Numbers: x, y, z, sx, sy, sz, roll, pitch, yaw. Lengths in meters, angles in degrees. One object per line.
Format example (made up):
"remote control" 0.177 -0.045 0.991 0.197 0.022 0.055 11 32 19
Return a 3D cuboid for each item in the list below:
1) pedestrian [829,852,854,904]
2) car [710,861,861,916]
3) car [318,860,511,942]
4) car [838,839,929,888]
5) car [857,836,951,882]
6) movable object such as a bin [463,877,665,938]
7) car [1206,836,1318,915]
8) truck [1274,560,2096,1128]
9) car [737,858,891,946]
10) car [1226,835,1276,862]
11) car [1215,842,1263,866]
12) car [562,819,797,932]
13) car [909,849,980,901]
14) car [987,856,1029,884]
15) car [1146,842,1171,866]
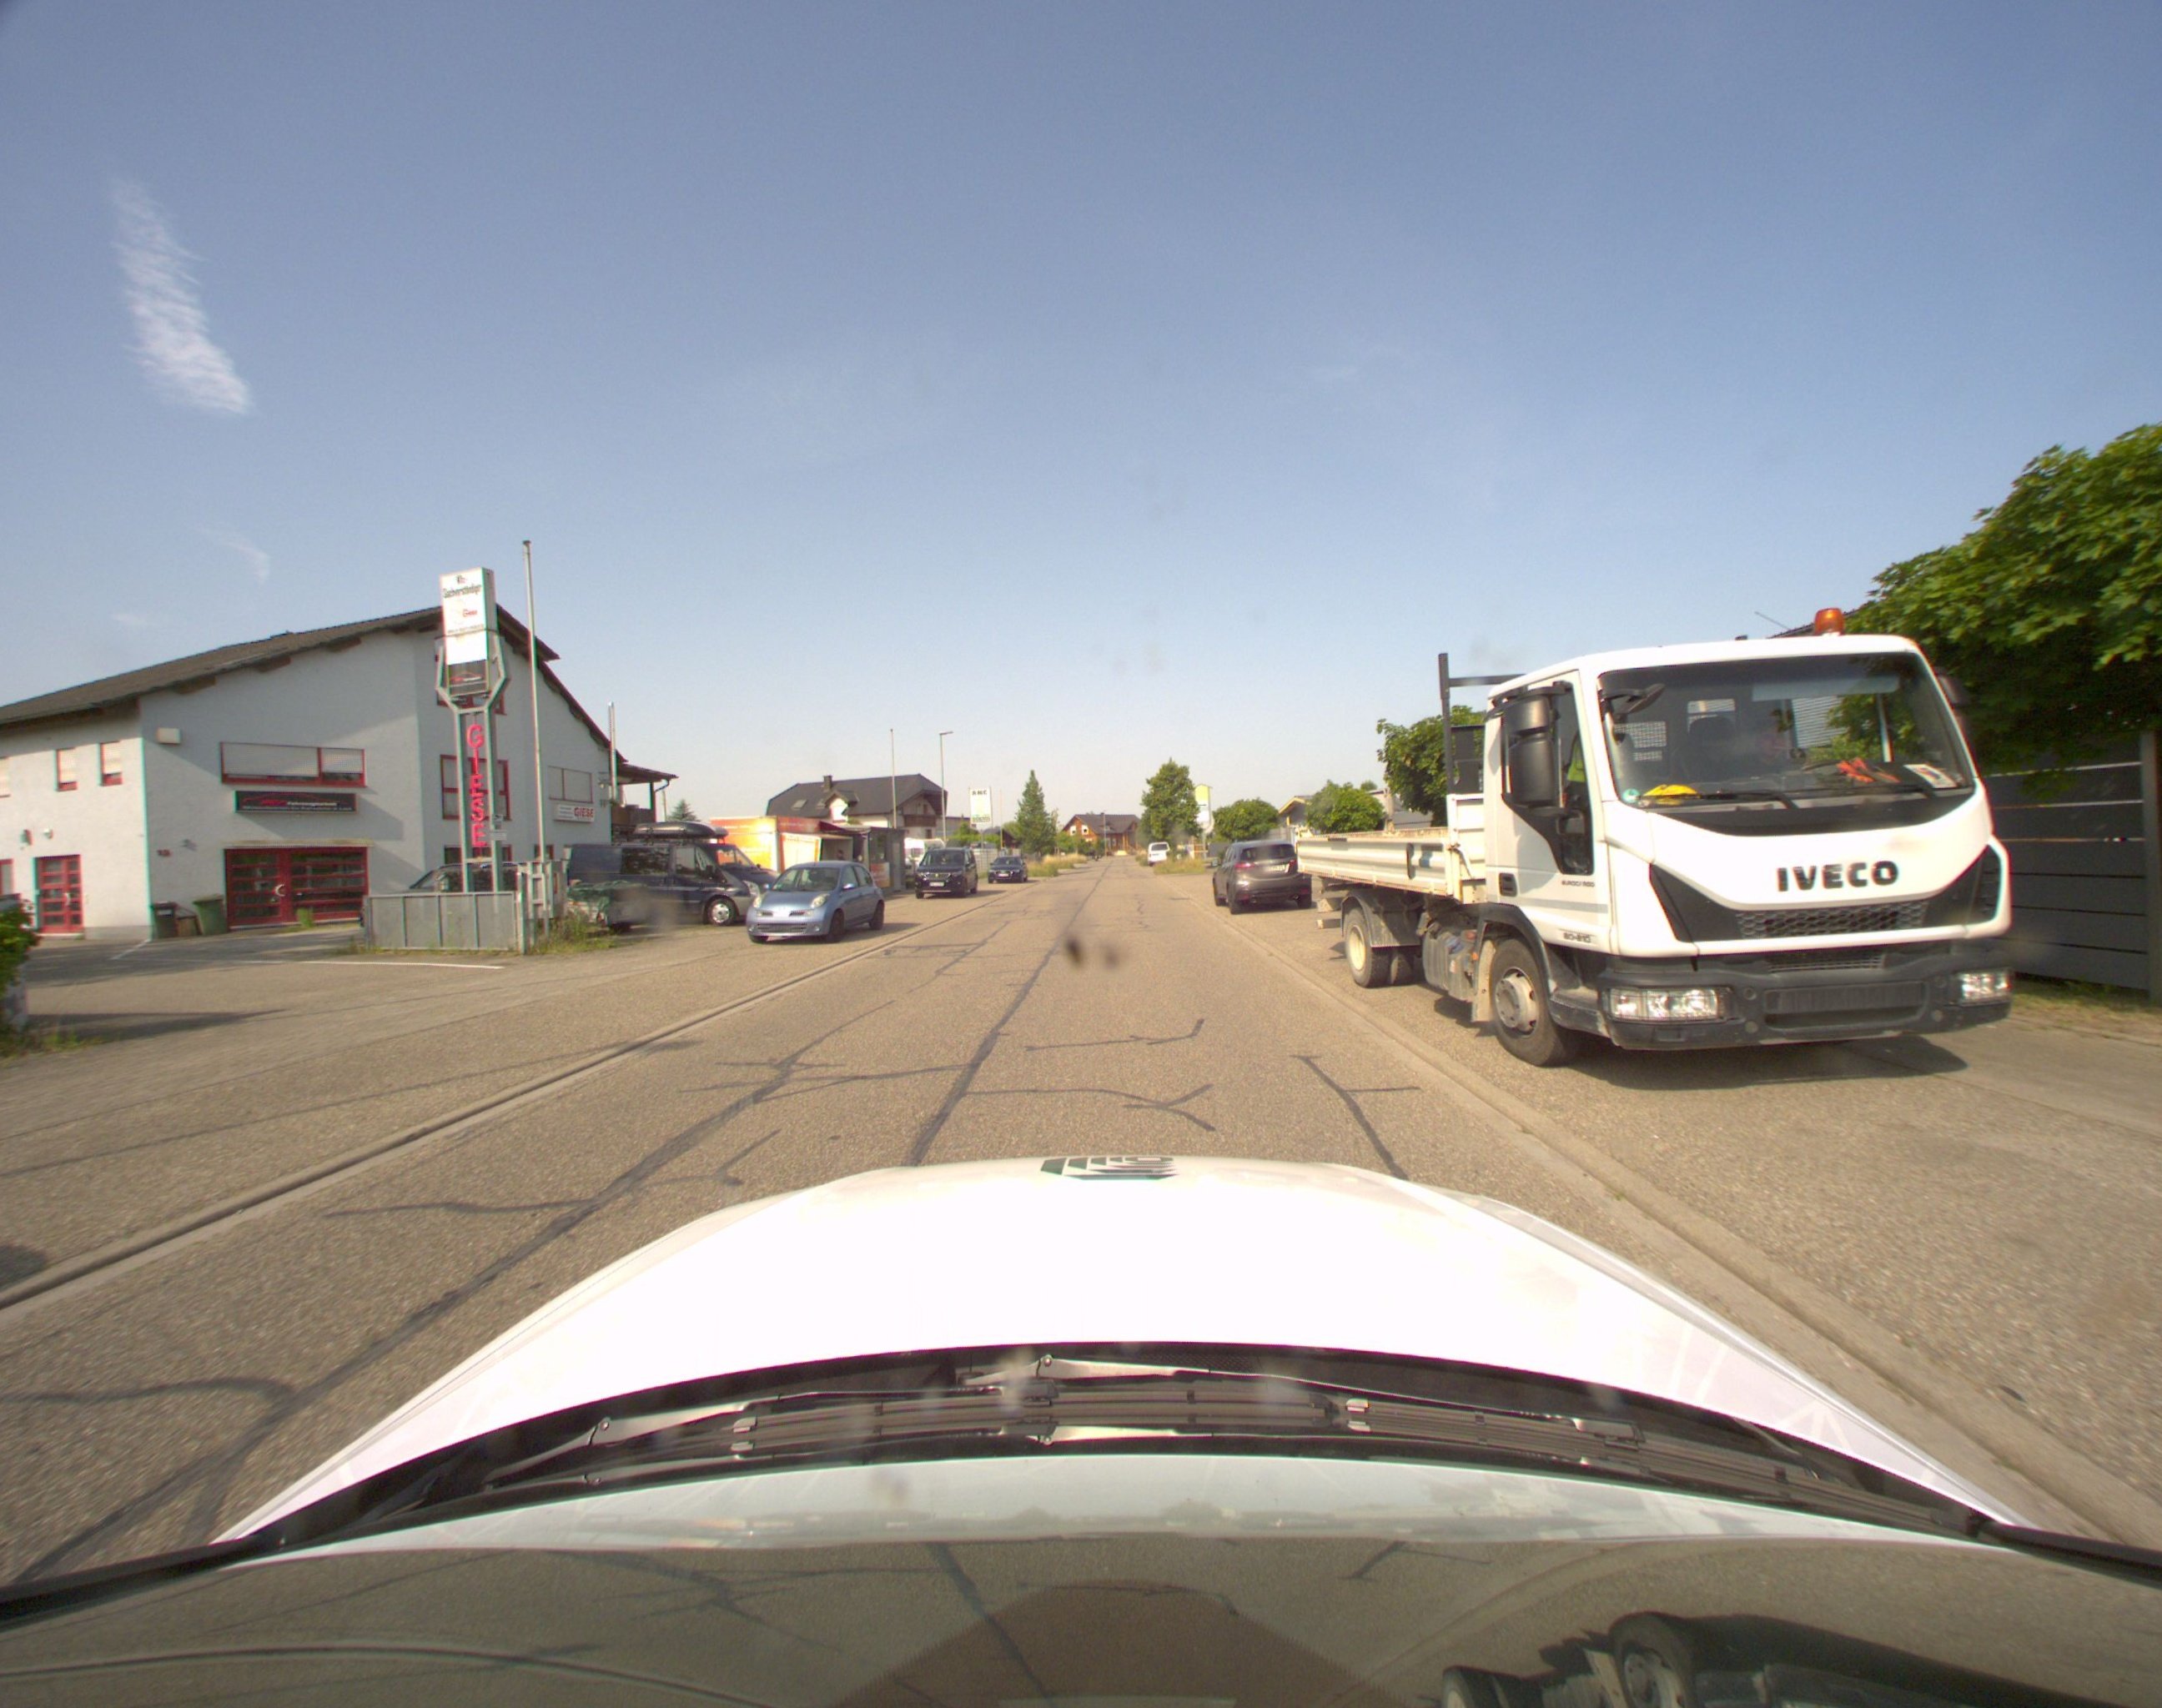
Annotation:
"pedestrian" -8.097 0.799 27.513 0.566 1.715 0.528 -3 0 -35
"car" -8.284 0.947 23.055 3.577 1.414 1.761 -1 0 -1
"car" -15.845 1.040 19.609 1.539 1.661 3.479 -3 0 4
"car" -11.775 0.554 48.448 4.760 2.585 2.157 -3 0 23
"car" -11.239 0.288 51.660 5.111 2.585 2.591 -3 0 23
"movable object such as a bin" -11.033 1.123 17.479 3.301 1.146 1.767 -1 1 11
"car" 4.139 0.452 19.224 1.788 1.560 4.002 -4 0 2
"truck" 3.782 -0.071 7.294 2.352 2.681 6.508 -3 0 -1
"car" -5.221 0.867 16.432 1.625 1.517 3.611 -1 0 5
"car" 11.289 -0.373 54.232 3.123 1.579 1.396 -3 0 10
"car" 10.932 0.015 56.388 3.123 1.521 1.396 -2 0 10
"car" -9.628 0.491 19.768 4.605 2.416 2.003 -2 0 4
"car" -5.004 0.706 30.430 1.793 1.774 4.205 -1 0 2
"car" -3.819 0.810 43.171 1.793 1.386 3.640 -1 0 2
"car" 6.578 -0.026 69.112 1.830 1.923 3.759 -3 0 3
